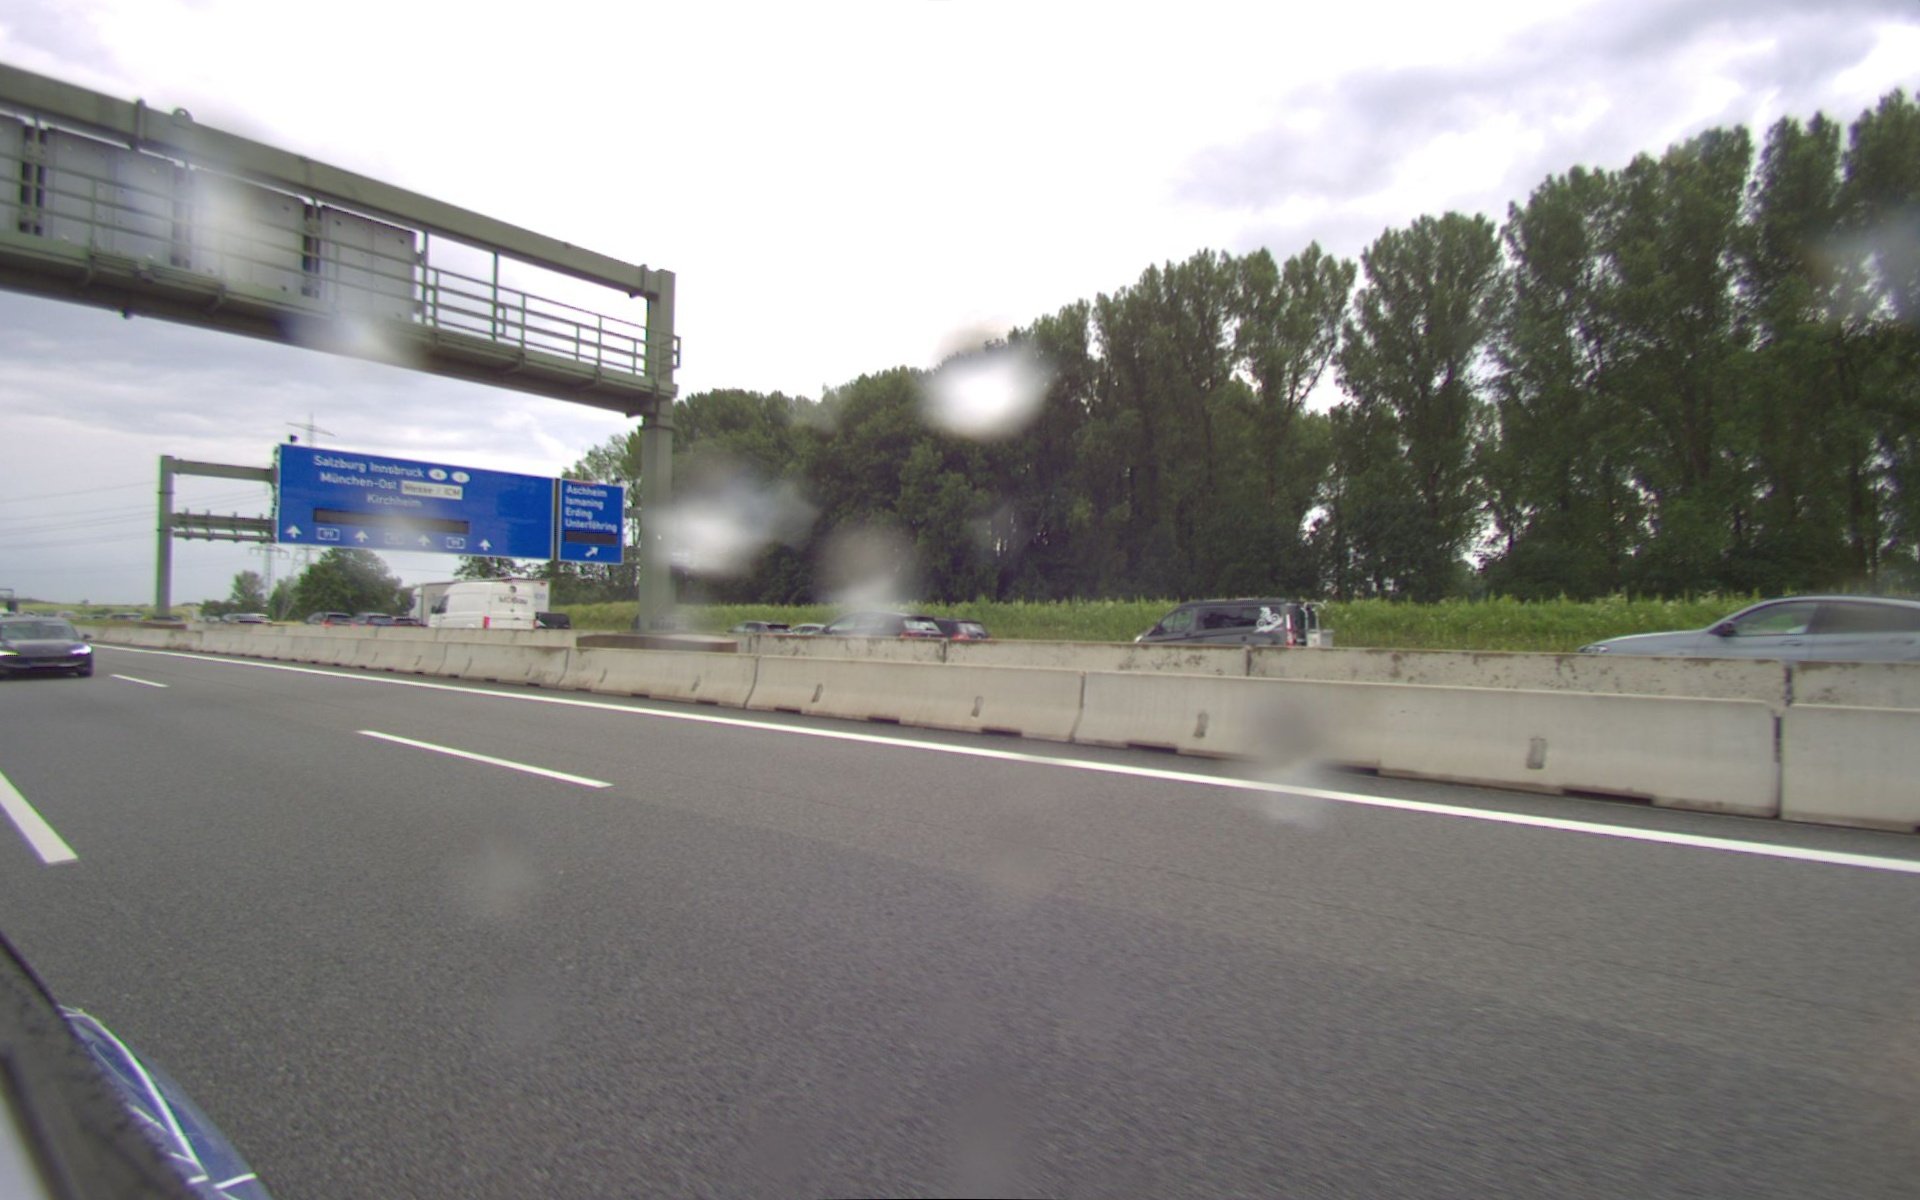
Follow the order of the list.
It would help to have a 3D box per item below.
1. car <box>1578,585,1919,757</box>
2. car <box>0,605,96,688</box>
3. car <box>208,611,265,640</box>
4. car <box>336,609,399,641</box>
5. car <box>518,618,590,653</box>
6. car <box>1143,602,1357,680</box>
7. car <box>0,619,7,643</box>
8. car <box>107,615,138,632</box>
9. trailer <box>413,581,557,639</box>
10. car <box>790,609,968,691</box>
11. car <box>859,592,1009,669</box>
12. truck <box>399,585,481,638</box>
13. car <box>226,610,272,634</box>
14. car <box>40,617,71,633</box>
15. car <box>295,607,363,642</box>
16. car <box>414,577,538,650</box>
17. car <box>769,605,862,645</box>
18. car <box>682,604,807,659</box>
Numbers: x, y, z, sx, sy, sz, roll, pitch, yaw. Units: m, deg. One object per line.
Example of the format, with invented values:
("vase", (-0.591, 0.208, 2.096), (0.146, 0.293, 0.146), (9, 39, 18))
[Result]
("car", (10.750, 0.802, 12.379), (5.184, 1.900, 1.973), (-1, -1, 41))
("car", (-22.477, 1.061, 24.469), (5.164, 1.834, 1.971), (-1, -1, 44))
("car", (-44.509, 1.542, 62.225), (4.016, 1.740, 1.973), (-1, -1, 41))
("car", (-34.187, 1.425, 58.343), (4.016, 1.740, 1.973), (-1, -1, 41))
("car", (-21.410, 1.830, 53.271), (3.999, 1.719, 1.972), (-1, -1, 42))
("car", (7.214, 0.984, 25.570), (4.967, 1.807, 1.687), (-1, -1, 41))
("car", (-63.693, 2.025, 66.137), (3.999, 1.586, 1.798), (-1, -1, 43))
("car", (-87.493, 2.489, 105.739), (4.017, 1.740, 1.972), (-1, -1, 42))
("trailer", (-31.557, 0.697, 66.652), (14.446, 3.534, 3.077), (-1, -1, 41))
("car", (-2.025, 1.132, 24.377), (4.427, 1.807, 1.687), (-1, -1, 41))
("car", (-0.780, 0.845, 28.892), (3.998, 2.029, 1.973), (-1, -1, 41))
("truck", (-36.595, 0.801, 71.106), (6.097, 3.534, 3.103), (-1, -1, 41))
("car", (-53.268, 1.647, 75.787), (4.016, 1.740, 1.973), (-1, -1, 41))
("car", (-97.455, 2.638, 108.988), (4.497, 1.710, 1.763), (-1, -1, 39))
("car", (-31.555, 1.215, 50.568), (3.999, 1.670, 1.849), (-1, -1, 42))
("car", (-18.711, 0.527, 38.938), (6.340, 2.636, 1.973), (-1, -1, 41))
("car", (-6.229, 1.045, 43.353), (3.999, 1.644, 1.849), (-1, -1, 42))
("car", (-8.508, 1.204, 39.668), (5.401, 2.029, 1.973), (-1, -1, 41))
